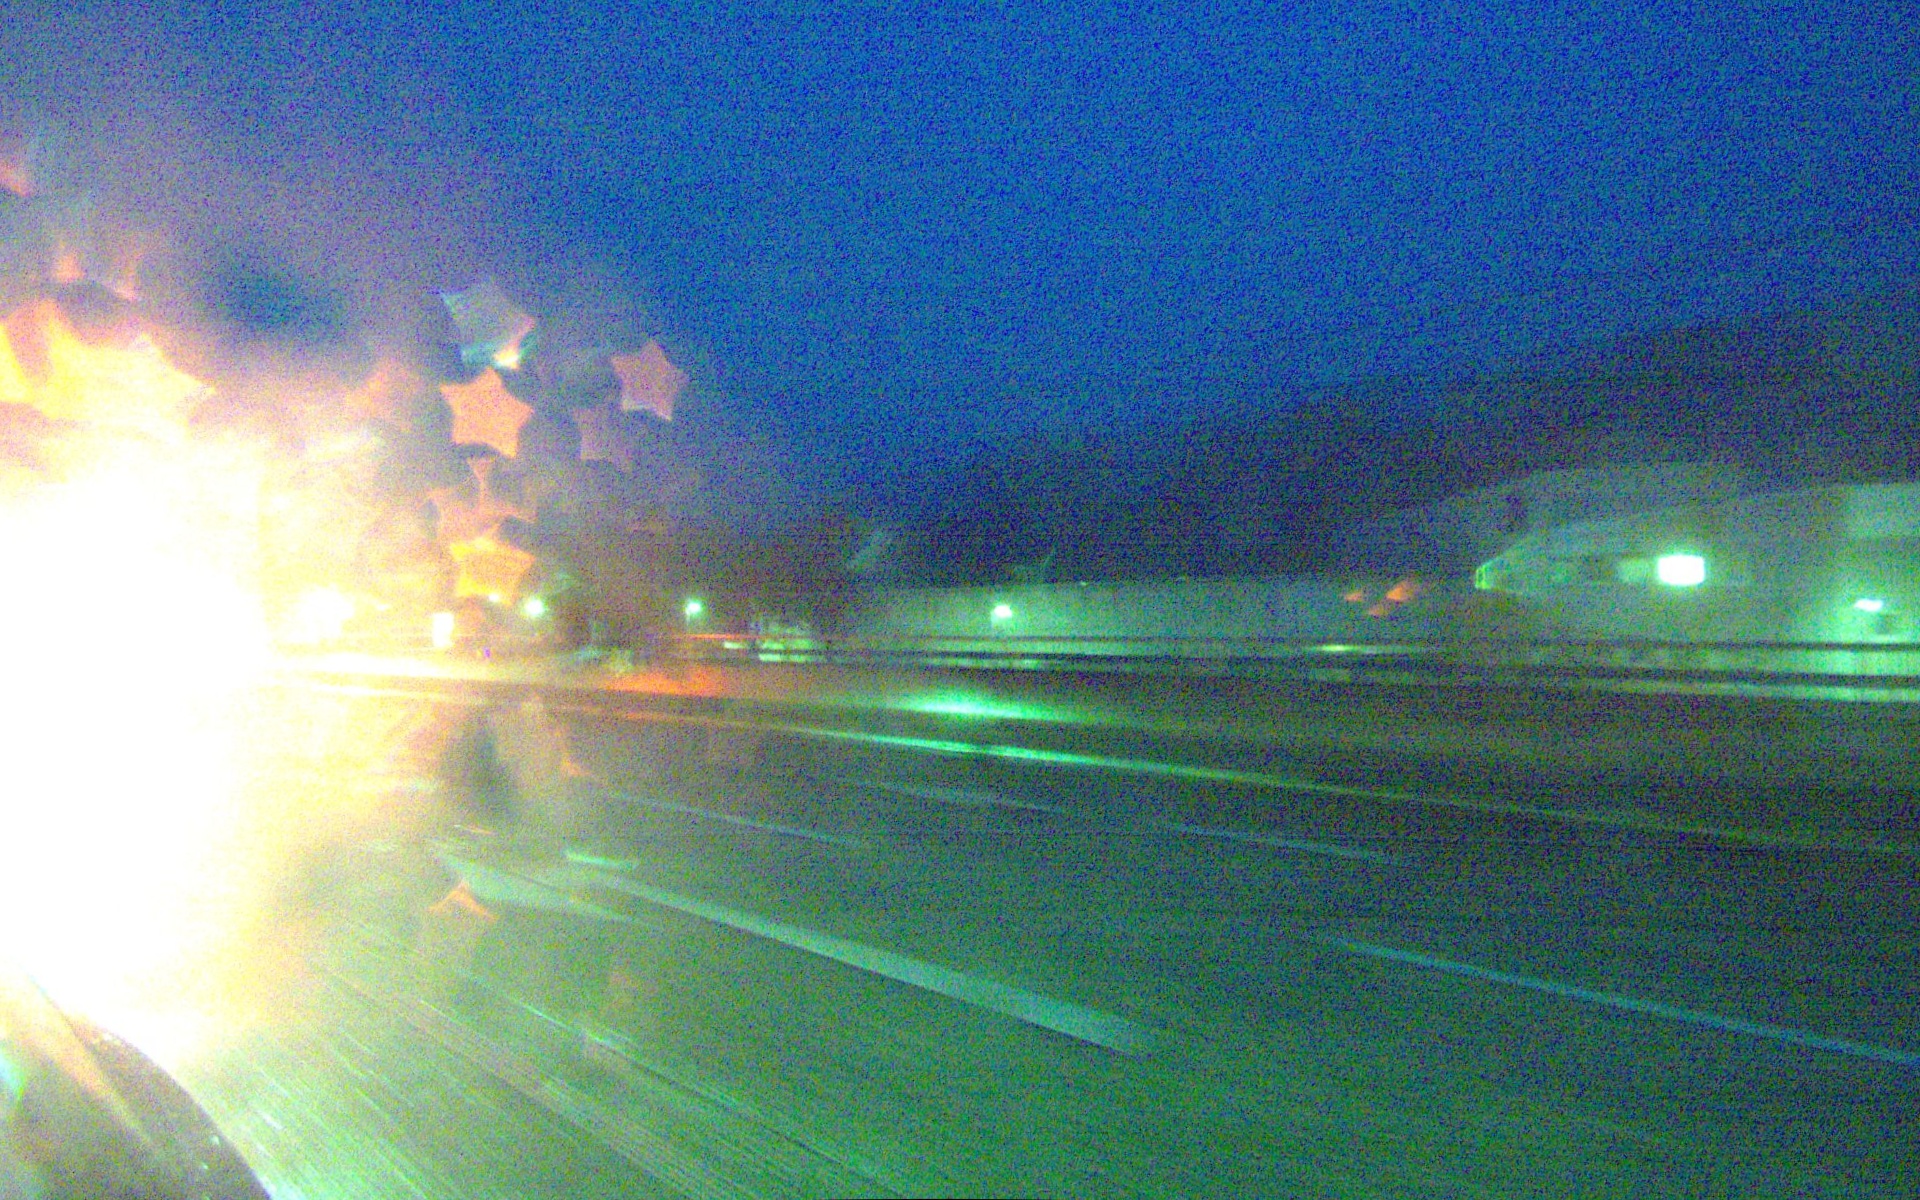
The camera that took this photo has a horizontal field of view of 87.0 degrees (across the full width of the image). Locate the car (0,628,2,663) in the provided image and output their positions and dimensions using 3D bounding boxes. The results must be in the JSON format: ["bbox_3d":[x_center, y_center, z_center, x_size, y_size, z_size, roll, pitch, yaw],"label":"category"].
[{"bbox_3d":[-44.830,2.090,45.879,3.988,1.548,1.858,-2,-1,44],"label":"car"}]

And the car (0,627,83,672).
[{"bbox_3d":[-33.941,1.773,37.004,4.987,1.460,2.056,-2,-1,40],"label":"car"}]

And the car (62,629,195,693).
[{"bbox_3d":[-21.641,1.515,26.275,4.542,1.455,1.898,-2,-1,40],"label":"car"}]

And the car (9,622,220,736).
[{"bbox_3d":[-12.940,1.089,15.402,4.288,1.445,1.678,-1,0,39],"label":"car"}]
